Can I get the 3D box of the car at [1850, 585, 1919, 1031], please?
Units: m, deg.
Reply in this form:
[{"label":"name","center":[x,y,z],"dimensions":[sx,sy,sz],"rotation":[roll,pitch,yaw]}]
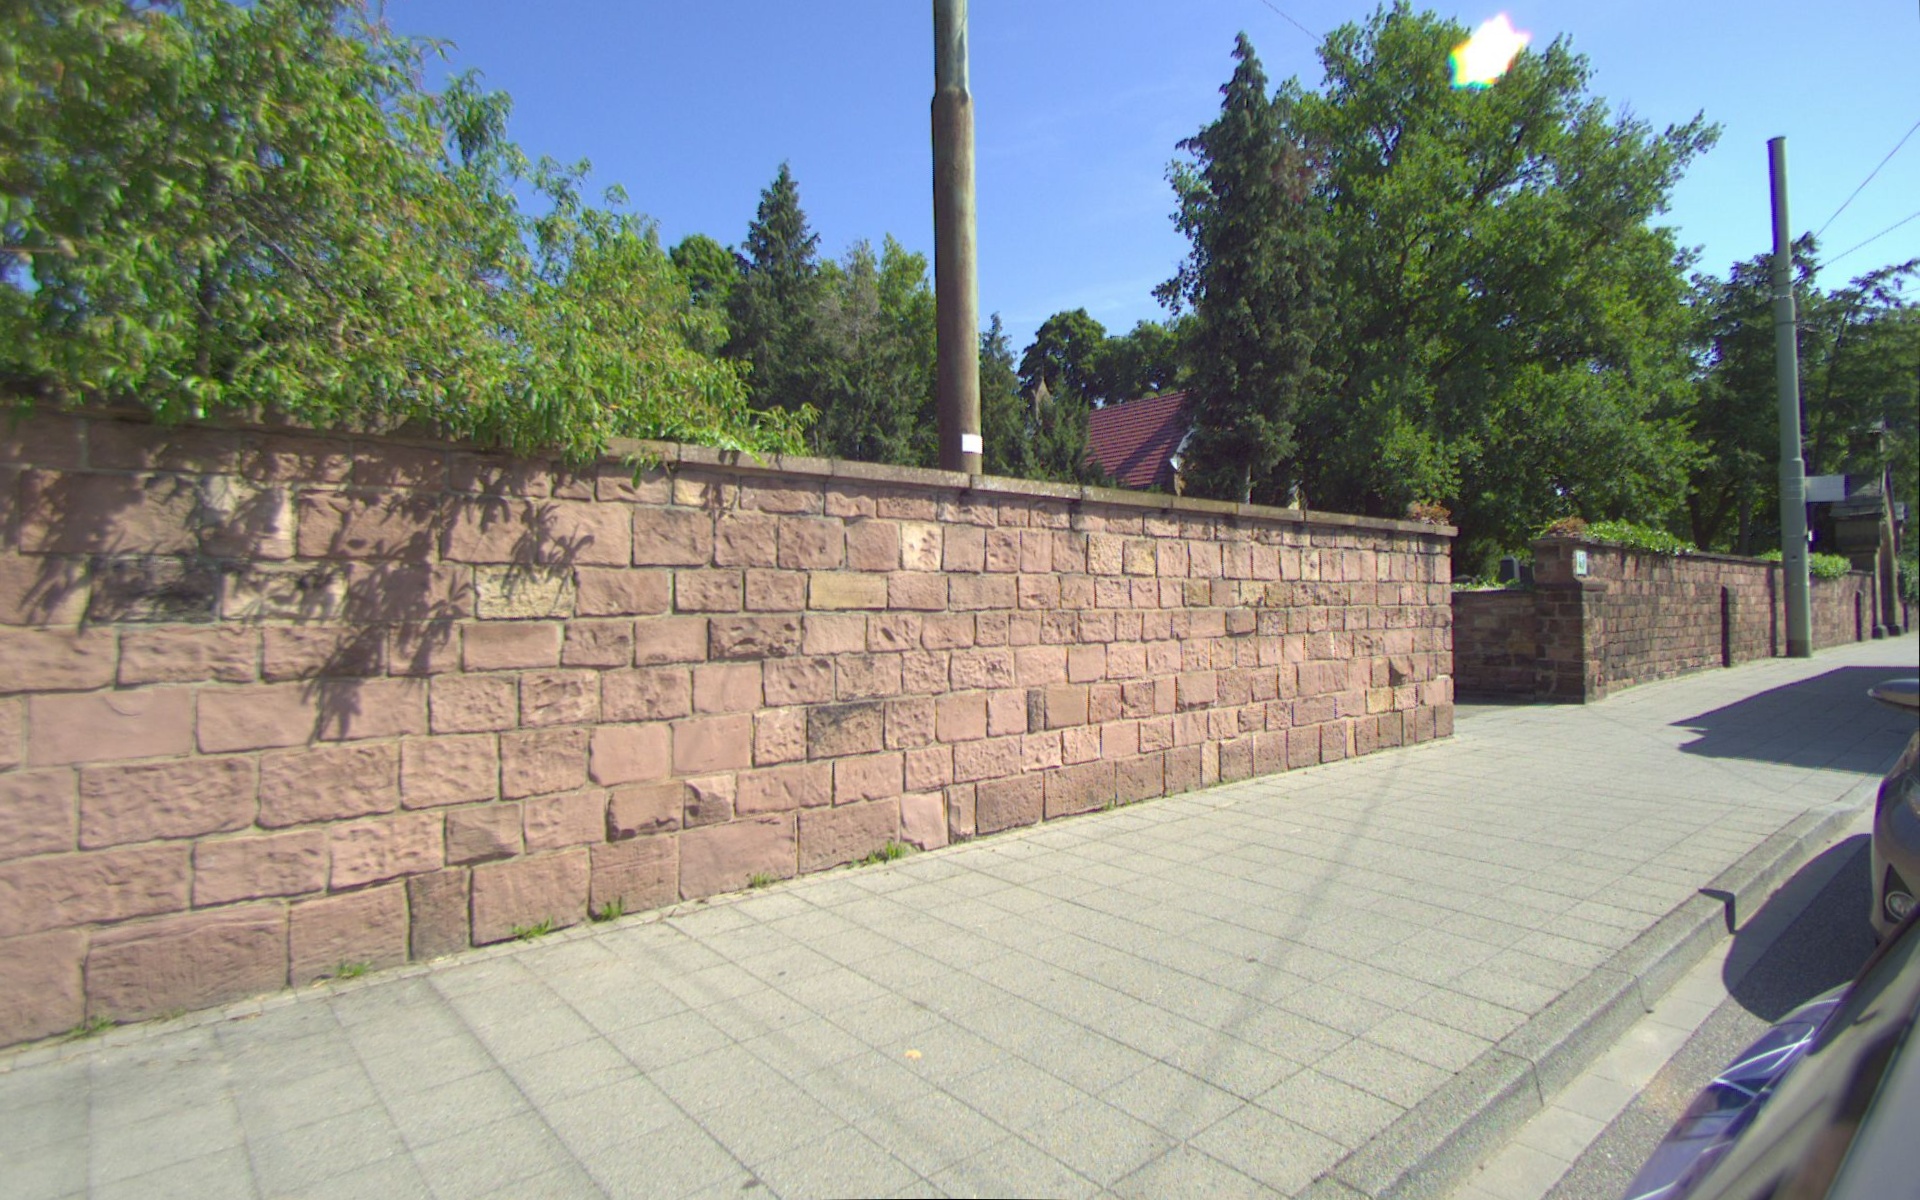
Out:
[{"label":"car","center":[5.240,0.646,4.184],"dimensions":[4.384,1.451,1.741],"rotation":[-1,-1,-41]}]
